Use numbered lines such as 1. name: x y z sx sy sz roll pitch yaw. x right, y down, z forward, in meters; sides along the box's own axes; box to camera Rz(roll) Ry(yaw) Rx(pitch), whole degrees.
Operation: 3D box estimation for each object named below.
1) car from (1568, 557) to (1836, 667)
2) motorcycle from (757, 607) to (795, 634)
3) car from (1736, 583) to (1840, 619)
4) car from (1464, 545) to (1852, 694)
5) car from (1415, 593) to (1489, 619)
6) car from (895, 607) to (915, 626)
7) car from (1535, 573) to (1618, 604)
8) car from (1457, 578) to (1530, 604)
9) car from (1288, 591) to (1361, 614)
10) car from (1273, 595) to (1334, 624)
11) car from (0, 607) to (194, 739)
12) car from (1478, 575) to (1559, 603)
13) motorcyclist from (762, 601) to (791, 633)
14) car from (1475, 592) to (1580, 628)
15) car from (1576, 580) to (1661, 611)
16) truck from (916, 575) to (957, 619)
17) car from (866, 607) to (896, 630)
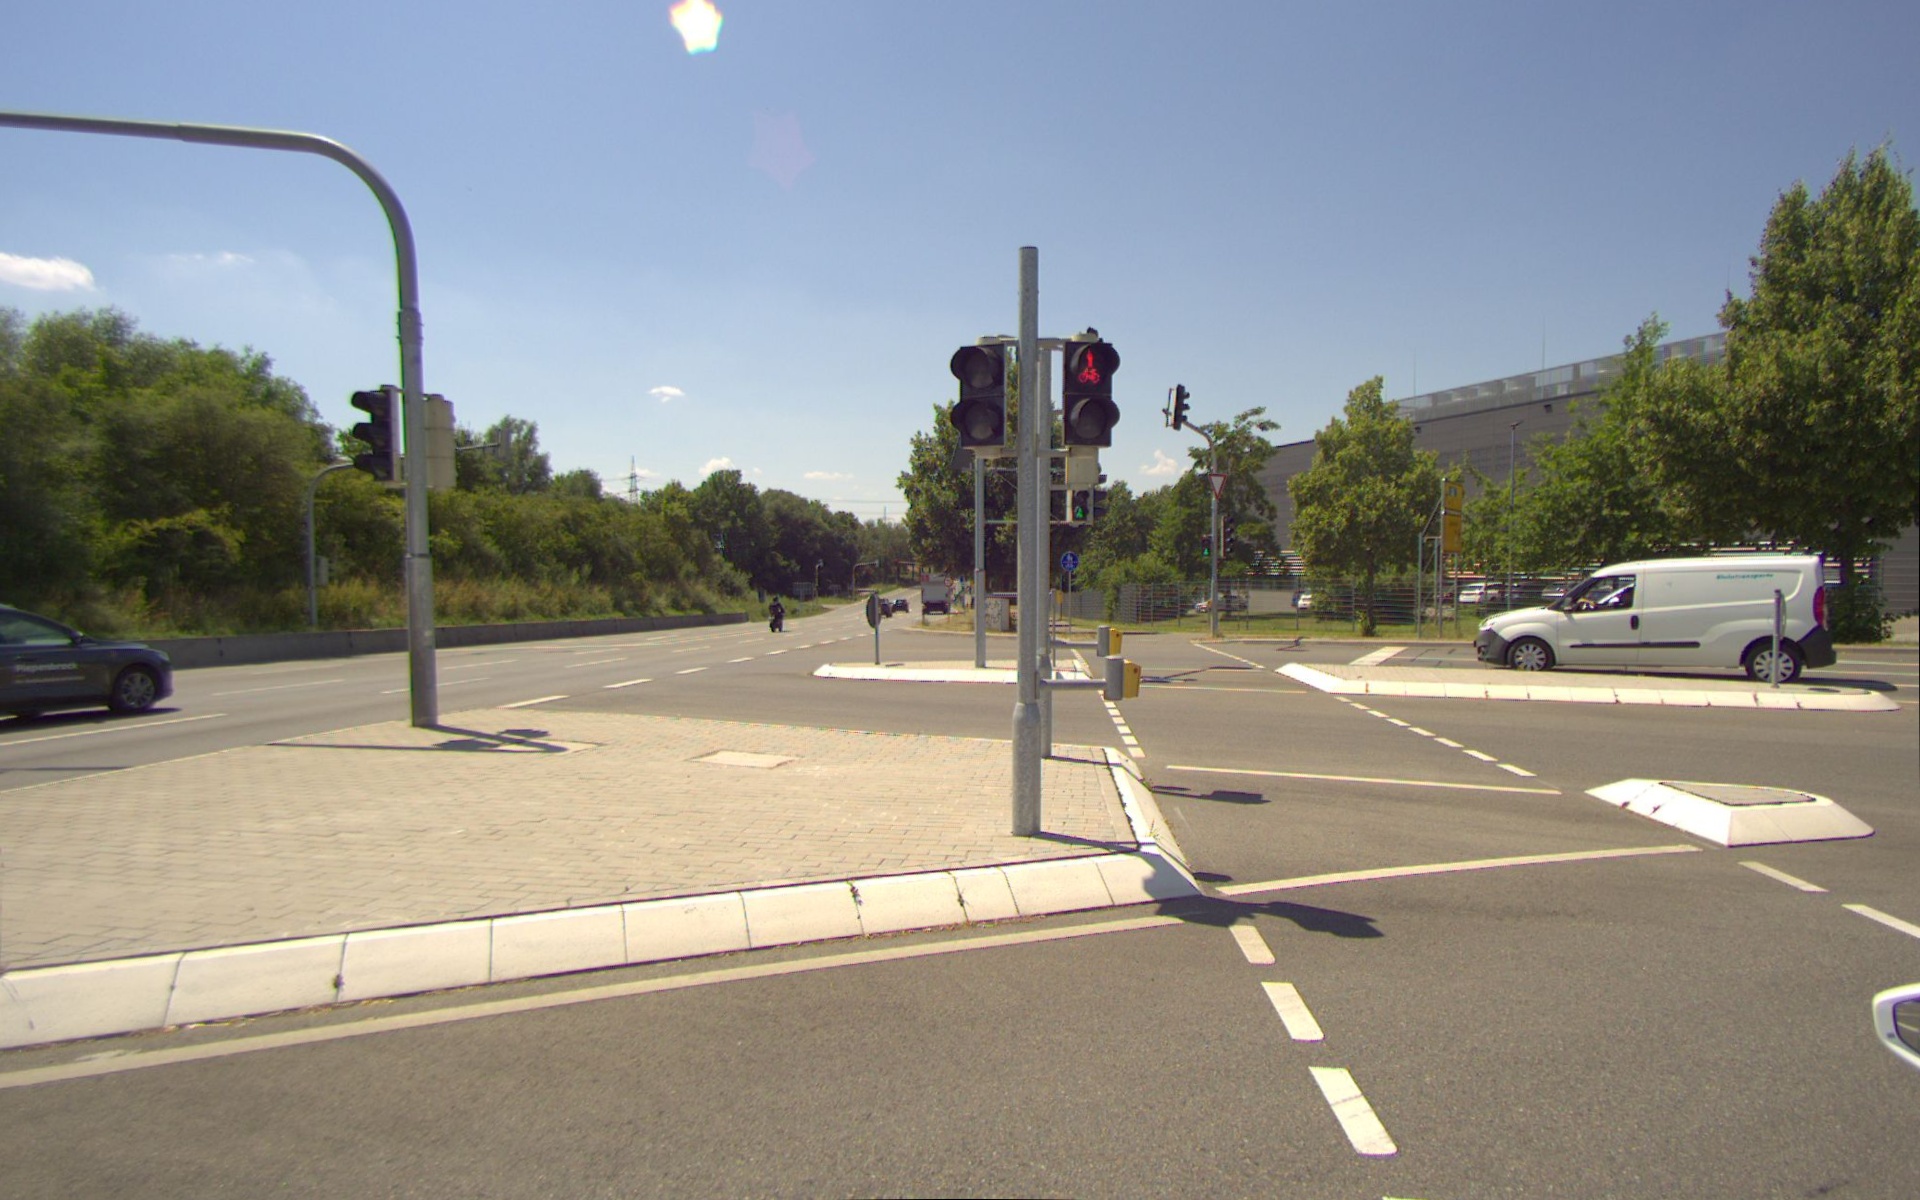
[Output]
1. car: 13.619 0.142 18.646 3.803 1.730 1.992 1 6 37
2. motorcycle: -8.378 0.921 45.823 0.846 1.157 2.170 -1 0 15
3. car: 36.407 0.046 44.153 3.944 1.505 1.989 0 -1 -24
4. car: 10.841 0.198 15.968 4.793 1.969 1.992 1 6 37
5. car: 30.119 0.380 61.530 3.944 1.505 1.989 0 -1 -24
6. car: -5.907 1.783 108.497 1.960 2.040 4.001 -1 -1 0
7. car: 33.049 -0.629 53.850 3.944 1.537 1.909 -1 -1 -24
8. car: 31.222 -0.512 58.794 3.944 1.479 1.761 0 -1 -24
9. car: 19.699 0.130 54.314 3.584 1.180 1.606 0 -1 -24
10. car: 25.391 0.685 74.281 3.944 2.040 1.989 0 -1 -24
11. car: -11.583 0.843 11.588 1.704 1.461 4.395 -1 0 9
12. car: 31.453 -0.610 56.564 3.944 1.505 1.989 0 -1 -24
13. motorcyclist: -8.384 0.792 45.834 0.858 1.431 1.176 -1 -1 15
14. car: 24.551 0.426 43.465 3.944 1.505 1.989 0 -1 -24
15. car: 33.726 -0.223 51.448 3.944 1.549 1.810 0 -1 -24
16. truck: -2.105 -0.202 92.249 3.211 3.890 6.206 -1 -1 3
17. car: -6.290 1.495 80.543 1.960 1.773 4.001 -1 -1 1
